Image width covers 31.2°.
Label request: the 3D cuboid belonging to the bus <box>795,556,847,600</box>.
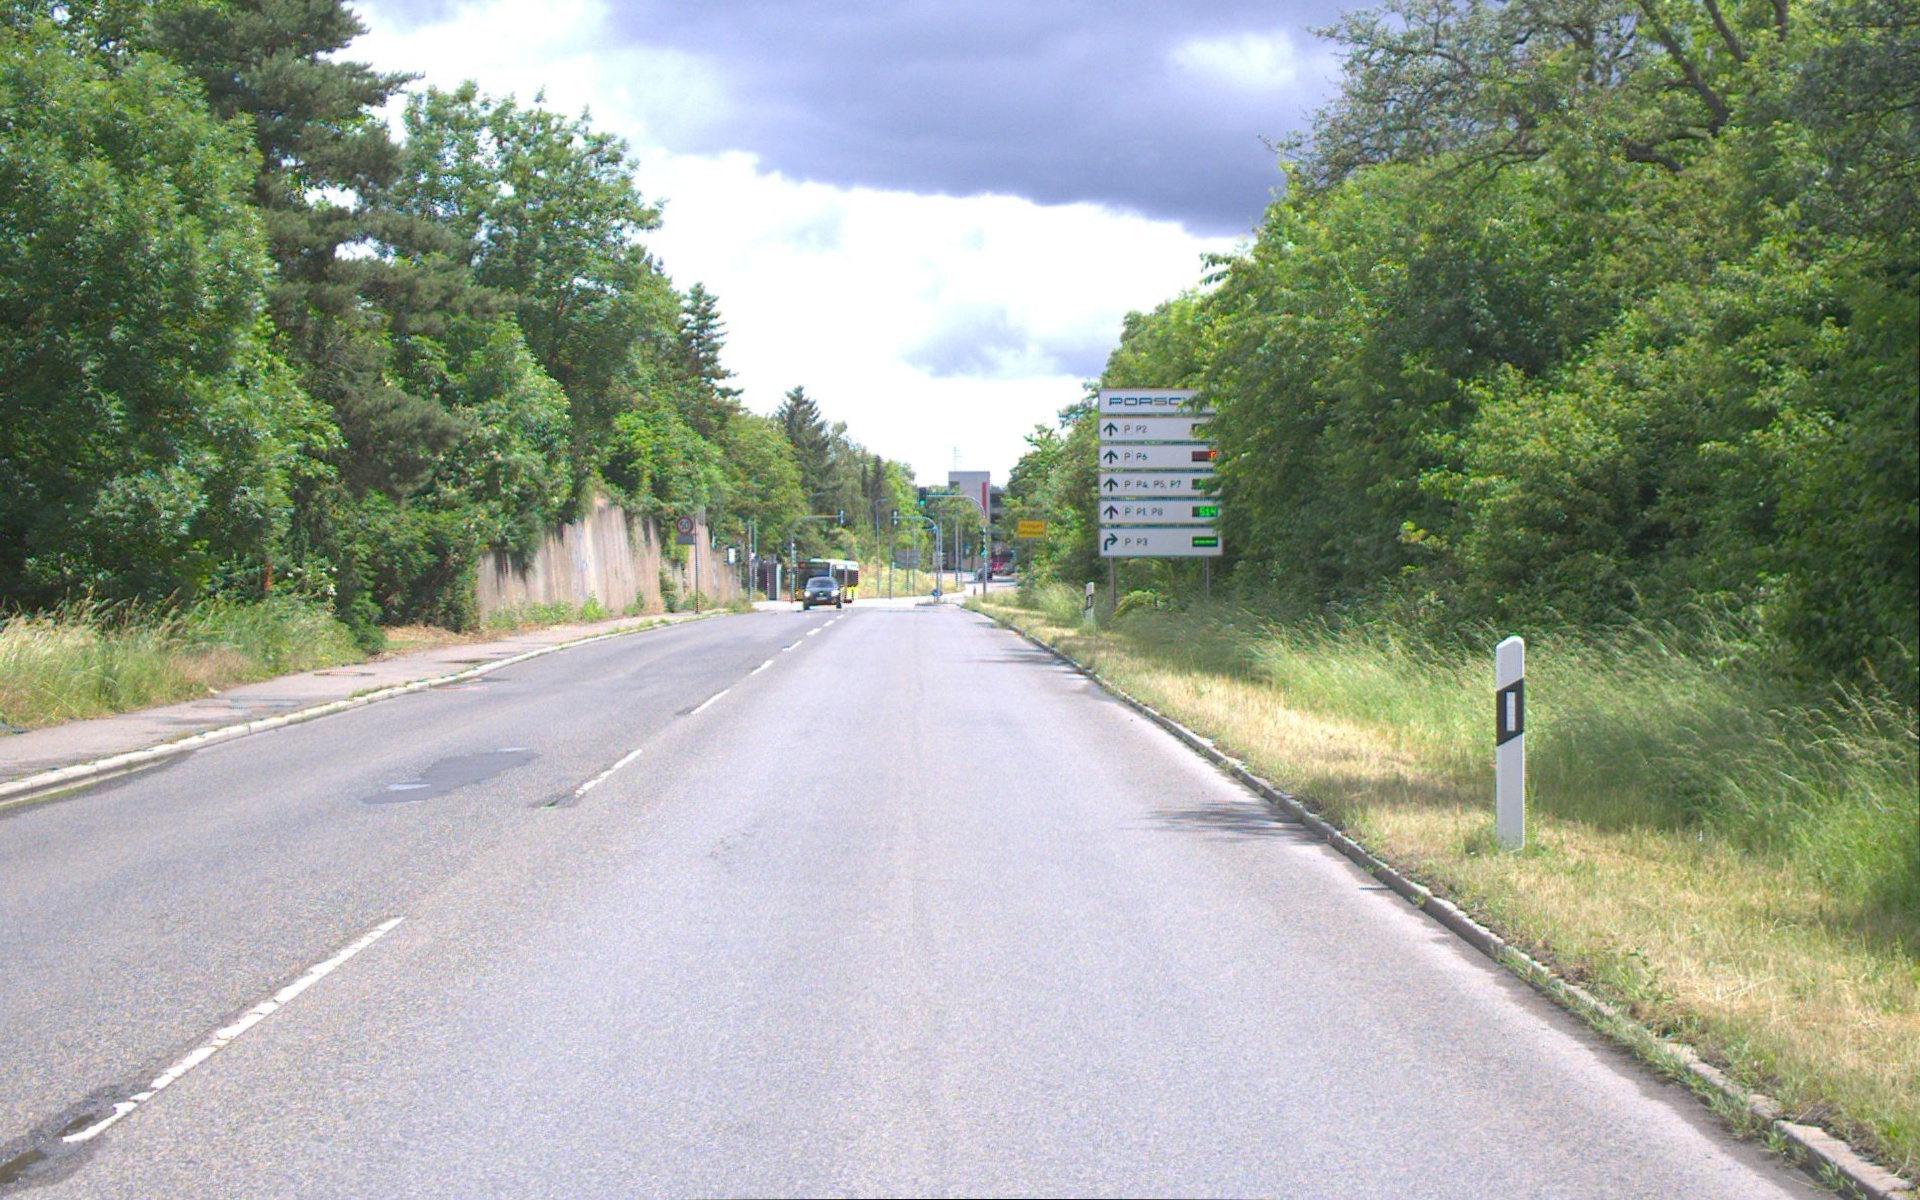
[{"bbox_3d":[-9.743,-1.571,241.548,2.895,2.889,7.667,2,1,3],"label":"bus"}]

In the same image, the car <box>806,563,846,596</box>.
[{"bbox_3d":[-6.246,-0.973,160.117,1.751,1.459,4.000,-1,1,-1],"label":"car"}]
